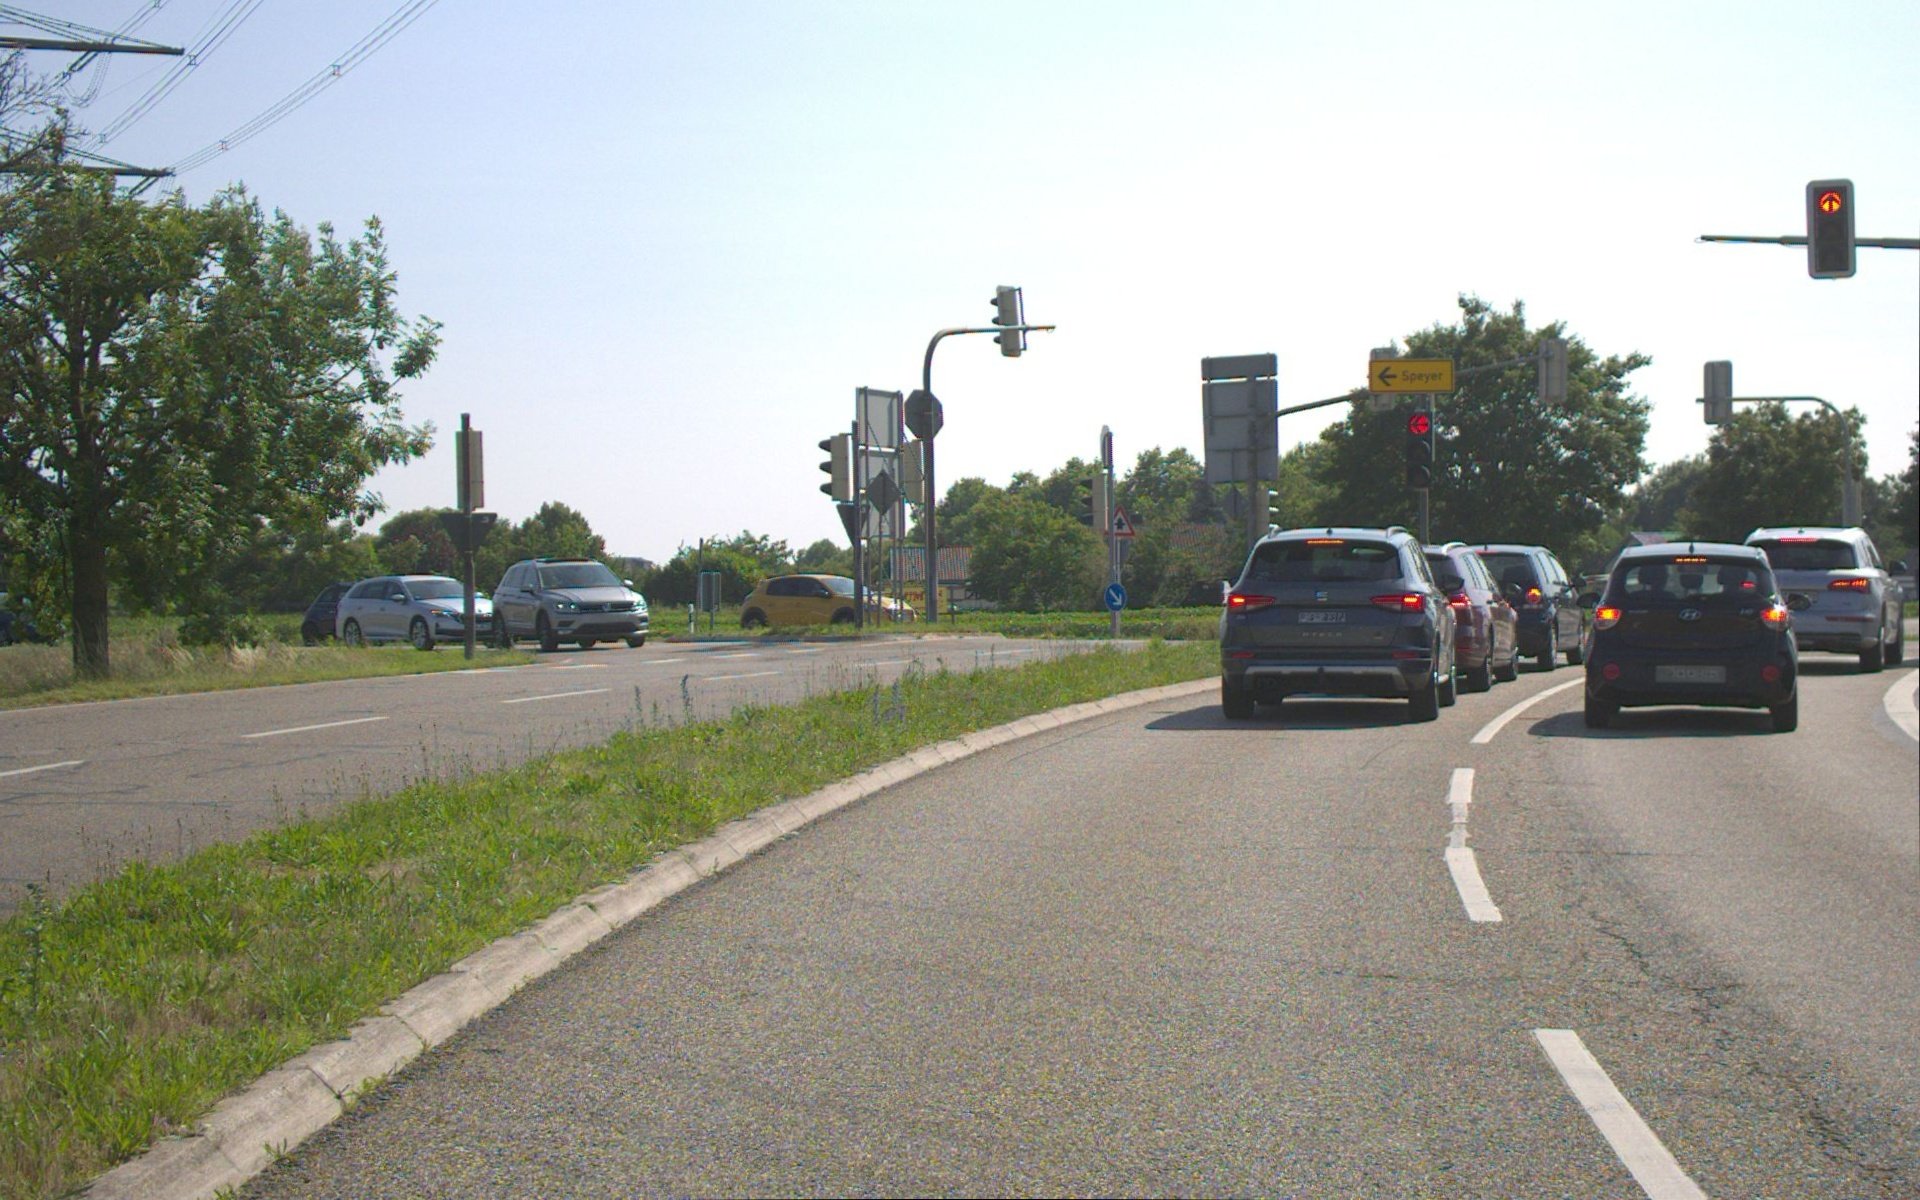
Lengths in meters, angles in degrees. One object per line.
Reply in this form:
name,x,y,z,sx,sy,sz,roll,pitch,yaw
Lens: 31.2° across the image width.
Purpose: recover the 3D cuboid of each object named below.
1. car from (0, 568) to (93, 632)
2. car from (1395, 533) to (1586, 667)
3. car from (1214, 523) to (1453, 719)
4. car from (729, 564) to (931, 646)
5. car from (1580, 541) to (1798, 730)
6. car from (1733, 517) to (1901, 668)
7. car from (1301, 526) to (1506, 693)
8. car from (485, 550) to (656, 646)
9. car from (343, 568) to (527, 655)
car,-24.838,0.003,90.577,3.996,1.645,1.816,0,0,39
car,6.325,-0.010,40.737,1.743,1.479,3.621,1,1,16
car,3.260,0.145,29.479,1.743,1.563,3.622,0,1,11
car,-2.730,0.101,71.636,3.996,1.645,1.816,0,0,39
car,5.955,0.248,28.297,1.633,1.443,3.293,1,1,11
car,10.091,-0.104,40.337,1.634,1.671,3.746,1,1,18
car,4.537,0.076,34.817,1.743,1.563,3.622,1,1,12
car,-6.988,-0.042,61.347,1.814,1.645,4.001,-1,0,-25
car,-10.288,0.216,67.176,1.815,1.645,3.999,-1,0,-38
